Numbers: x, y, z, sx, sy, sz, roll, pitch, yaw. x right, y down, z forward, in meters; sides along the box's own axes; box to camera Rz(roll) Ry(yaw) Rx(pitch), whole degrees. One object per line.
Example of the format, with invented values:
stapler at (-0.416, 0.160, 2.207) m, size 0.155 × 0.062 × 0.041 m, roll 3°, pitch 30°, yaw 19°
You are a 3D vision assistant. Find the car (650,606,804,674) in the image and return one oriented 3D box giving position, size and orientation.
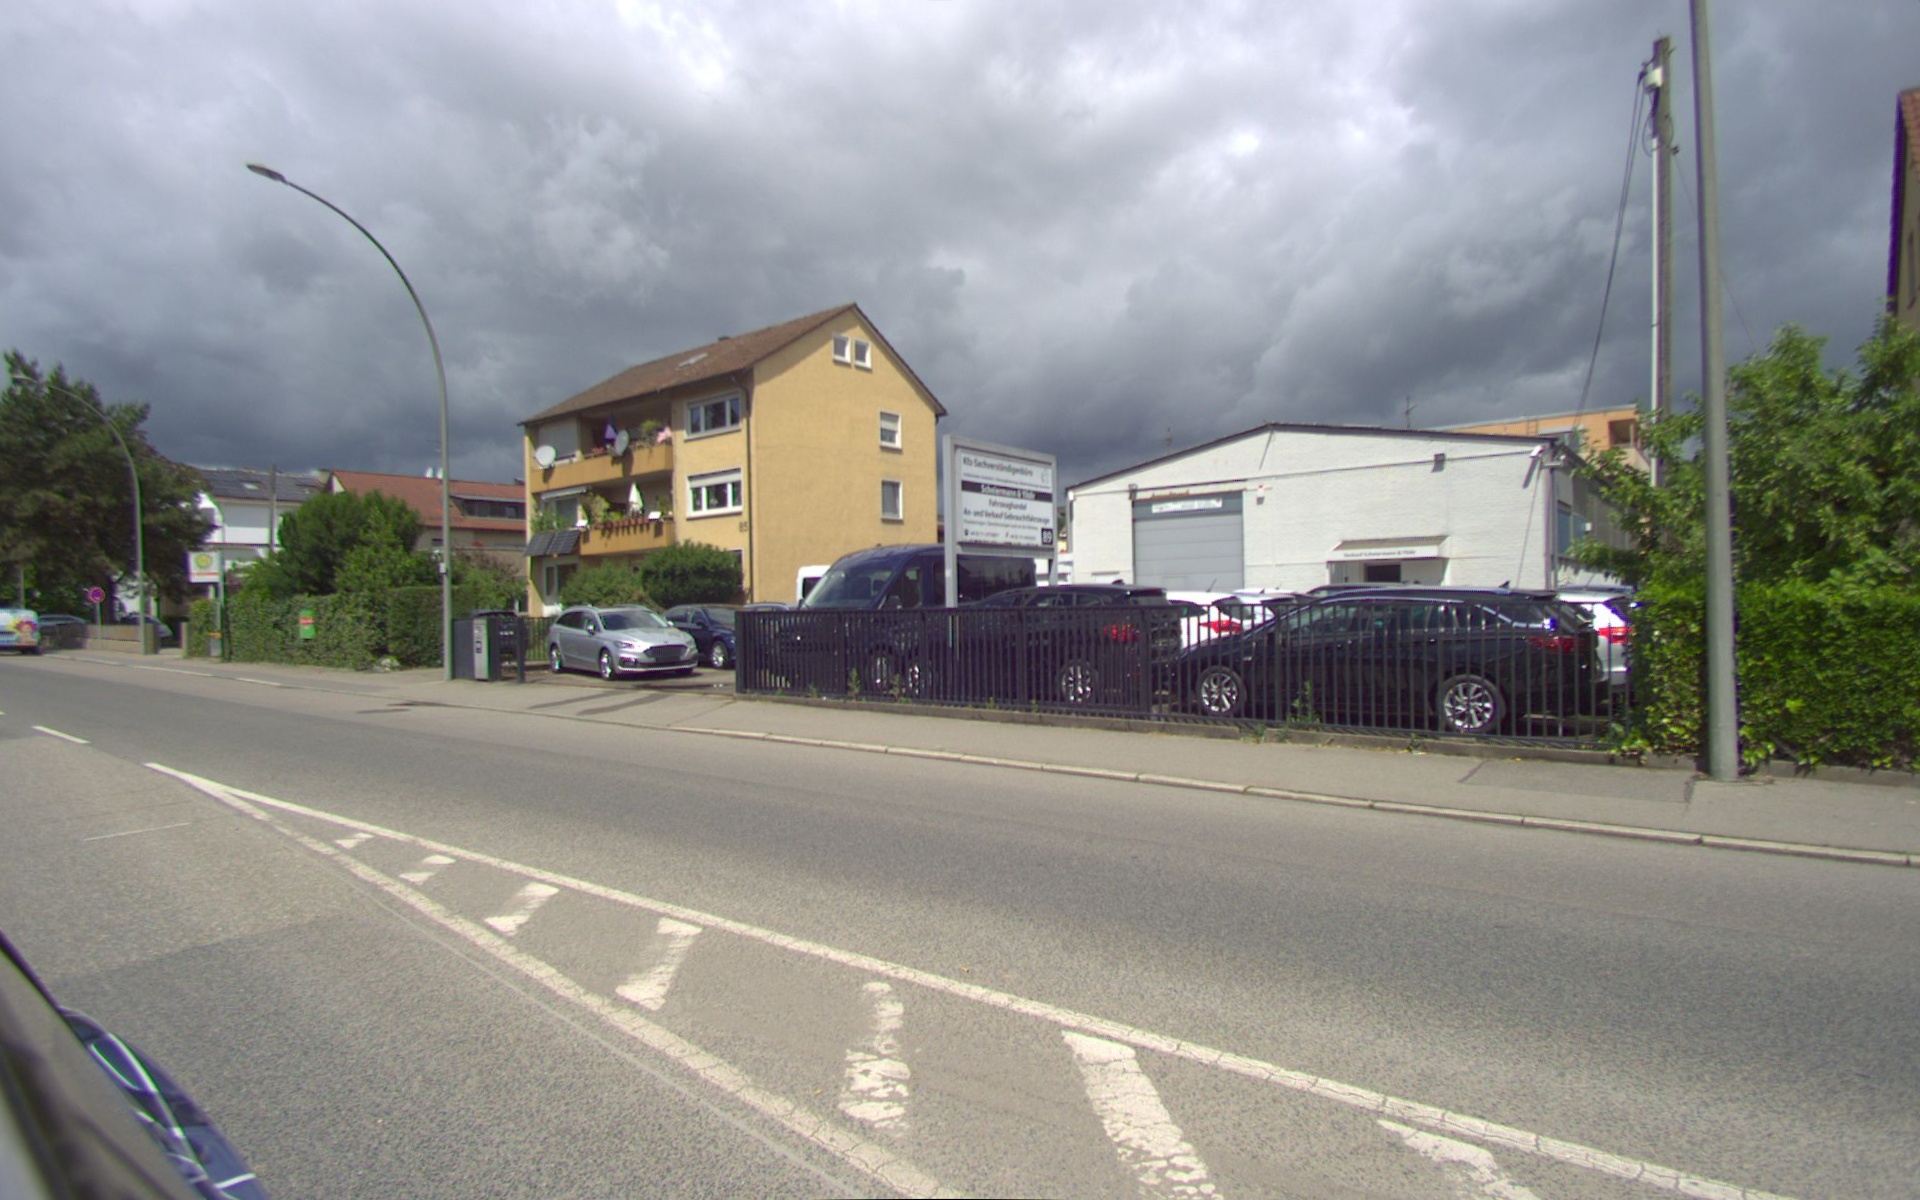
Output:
car at (-5.583, 0.897, 23.895) m, size 1.821 × 1.437 × 4.338 m, roll 0°, pitch -1°, yaw -39°

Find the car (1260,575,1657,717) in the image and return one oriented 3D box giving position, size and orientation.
car at (6.320, 0.527, 13.006) m, size 4.260 × 1.518 × 2.134 m, roll -1°, pitch -1°, yaw 37°

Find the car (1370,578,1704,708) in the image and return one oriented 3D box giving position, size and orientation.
car at (8.261, 0.578, 14.640) m, size 3.994 × 1.630 × 1.759 m, roll -1°, pitch -1°, yaw 38°

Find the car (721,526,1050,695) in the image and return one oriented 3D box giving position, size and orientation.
car at (-1.094, 0.184, 18.202) m, size 2.475 × 2.515 × 5.977 m, roll -1°, pitch -1°, yaw 39°

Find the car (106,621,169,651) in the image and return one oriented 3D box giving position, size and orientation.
car at (-45.739, 1.980, 56.265) m, size 4.079 × 1.555 × 1.751 m, roll -1°, pitch -1°, yaw 36°

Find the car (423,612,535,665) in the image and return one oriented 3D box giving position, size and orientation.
car at (-14.396, 1.104, 30.169) m, size 1.823 × 1.437 × 4.335 m, roll 0°, pitch -1°, yaw -43°

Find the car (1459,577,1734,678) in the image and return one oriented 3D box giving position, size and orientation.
car at (11.302, 0.473, 18.172) m, size 3.990 × 1.630 × 1.761 m, roll -1°, pitch -1°, yaw 35°

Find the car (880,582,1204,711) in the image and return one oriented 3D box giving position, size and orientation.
car at (1.110, 0.620, 14.647) m, size 4.277 × 1.607 × 2.013 m, roll -1°, pitch -1°, yaw 37°

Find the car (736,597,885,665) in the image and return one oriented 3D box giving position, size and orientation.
car at (-3.920, 0.750, 25.911) m, size 1.821 × 1.589 × 4.338 m, roll 0°, pitch -1°, yaw -39°

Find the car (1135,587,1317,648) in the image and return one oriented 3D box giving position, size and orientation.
car at (8.053, 0.547, 30.906) m, size 4.998 × 1.726 × 2.030 m, roll -1°, pitch -1°, yaw 37°

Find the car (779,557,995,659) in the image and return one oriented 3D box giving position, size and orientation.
car at (-2.127, 0.287, 27.881) m, size 6.134 × 2.514 × 2.386 m, roll -1°, pitch -3°, yaw 43°

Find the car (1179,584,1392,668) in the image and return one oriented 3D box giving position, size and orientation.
car at (6.877, 0.532, 21.509) m, size 3.990 × 1.630 × 1.761 m, roll -1°, pitch -1°, yaw 35°

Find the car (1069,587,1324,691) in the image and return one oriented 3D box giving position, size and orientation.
car at (4.092, 0.647, 17.754) m, size 3.990 × 1.630 × 1.761 m, roll -1°, pitch -1°, yaw 35°

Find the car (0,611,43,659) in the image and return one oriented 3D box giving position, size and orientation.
car at (-39.557, 1.473, 41.729) m, size 4.891 × 1.868 × 1.815 m, roll -2°, pitch -5°, yaw 40°

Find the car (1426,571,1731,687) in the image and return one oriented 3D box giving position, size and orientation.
car at (9.835, 0.446, 16.249) m, size 3.994 × 1.630 × 1.759 m, roll -1°, pitch -1°, yaw 38°

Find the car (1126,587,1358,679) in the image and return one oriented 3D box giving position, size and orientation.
car at (5.440, 0.619, 19.679) m, size 3.990 × 1.630 × 1.761 m, roll -1°, pitch -1°, yaw 35°

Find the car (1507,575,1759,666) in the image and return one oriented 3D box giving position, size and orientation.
car at (13.216, 0.405, 20.082) m, size 3.990 × 1.630 × 1.761 m, roll -1°, pitch -1°, yaw 35°

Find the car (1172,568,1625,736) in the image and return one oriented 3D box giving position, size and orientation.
car at (4.795, 0.515, 11.293) m, size 4.260 × 1.518 × 2.133 m, roll -1°, pitch -1°, yaw 37°

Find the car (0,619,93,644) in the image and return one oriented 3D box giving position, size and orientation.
car at (-60.760, 2.058, 66.867) m, size 1.970 × 1.563 × 4.960 m, roll -1°, pitch 0°, yaw 38°

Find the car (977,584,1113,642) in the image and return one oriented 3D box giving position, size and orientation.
car at (2.819, 0.448, 34.132) m, size 4.328 × 1.805 × 1.826 m, roll -1°, pitch -1°, yaw 41°

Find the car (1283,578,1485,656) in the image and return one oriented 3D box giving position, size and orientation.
car at (9.649, 0.391, 23.132) m, size 3.990 × 1.630 × 1.761 m, roll -1°, pitch -1°, yaw 35°

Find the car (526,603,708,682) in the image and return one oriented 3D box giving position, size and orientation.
car at (-7.583, 0.851, 21.975) m, size 1.968 × 1.497 × 5.349 m, roll 0°, pitch -1°, yaw -40°

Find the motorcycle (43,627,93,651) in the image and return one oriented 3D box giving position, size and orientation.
motorcycle at (-46.810, 2.026, 53.131) m, size 1.845 × 1.174 × 0.827 m, roll 0°, pitch -1°, yaw -34°

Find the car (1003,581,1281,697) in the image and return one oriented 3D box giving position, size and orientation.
car at (2.840, 0.582, 16.125) m, size 3.990 × 1.630 × 1.761 m, roll -1°, pitch -1°, yaw 35°
